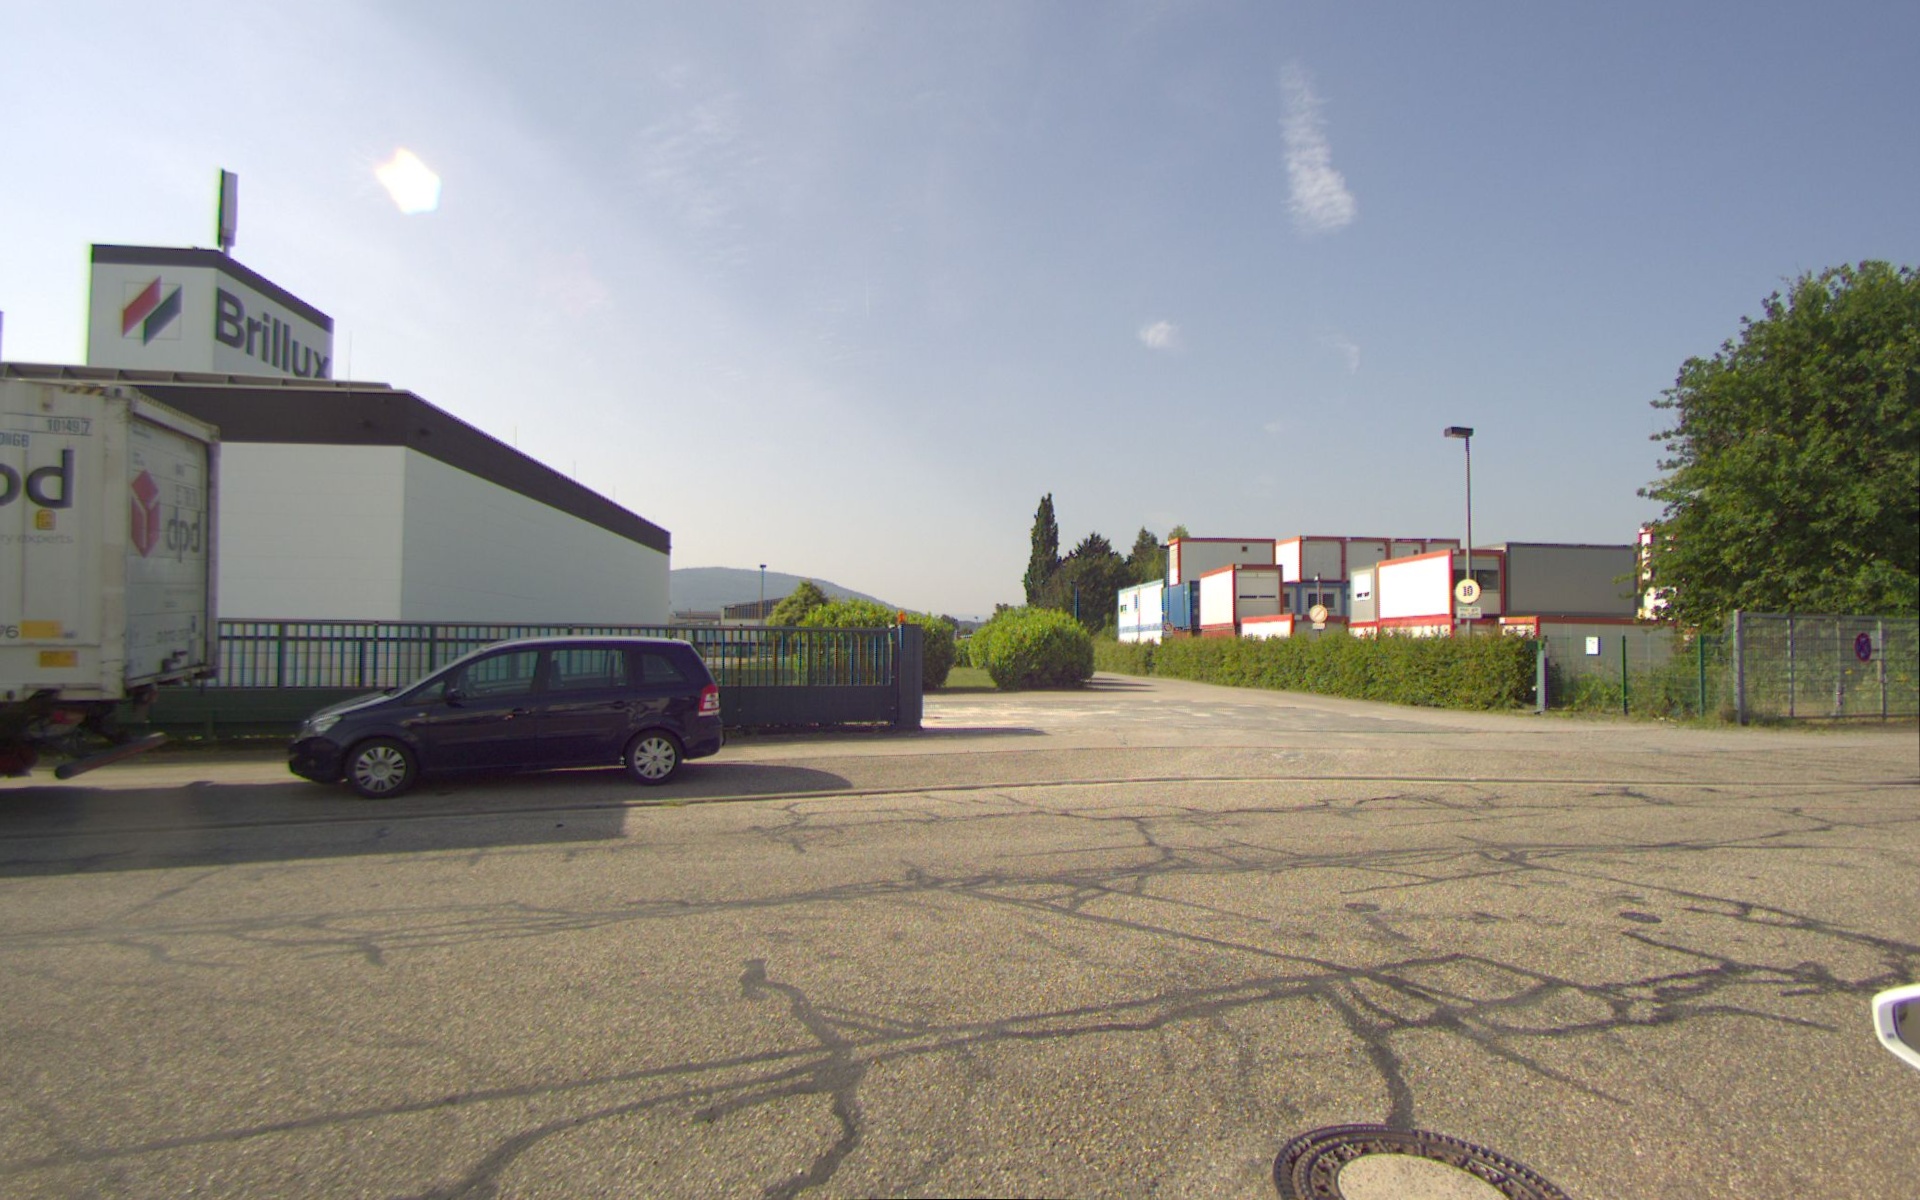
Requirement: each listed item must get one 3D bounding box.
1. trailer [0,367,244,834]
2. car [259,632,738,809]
[{"bbox_3d":[-11.199,-0.107,8.752,7.466,3.973,2.694,3,-1,-22],"label":"trailer"},{"bbox_3d":[-4.997,1.229,11.434,4.523,1.662,1.989,1,-1,-24],"label":"car"}]
